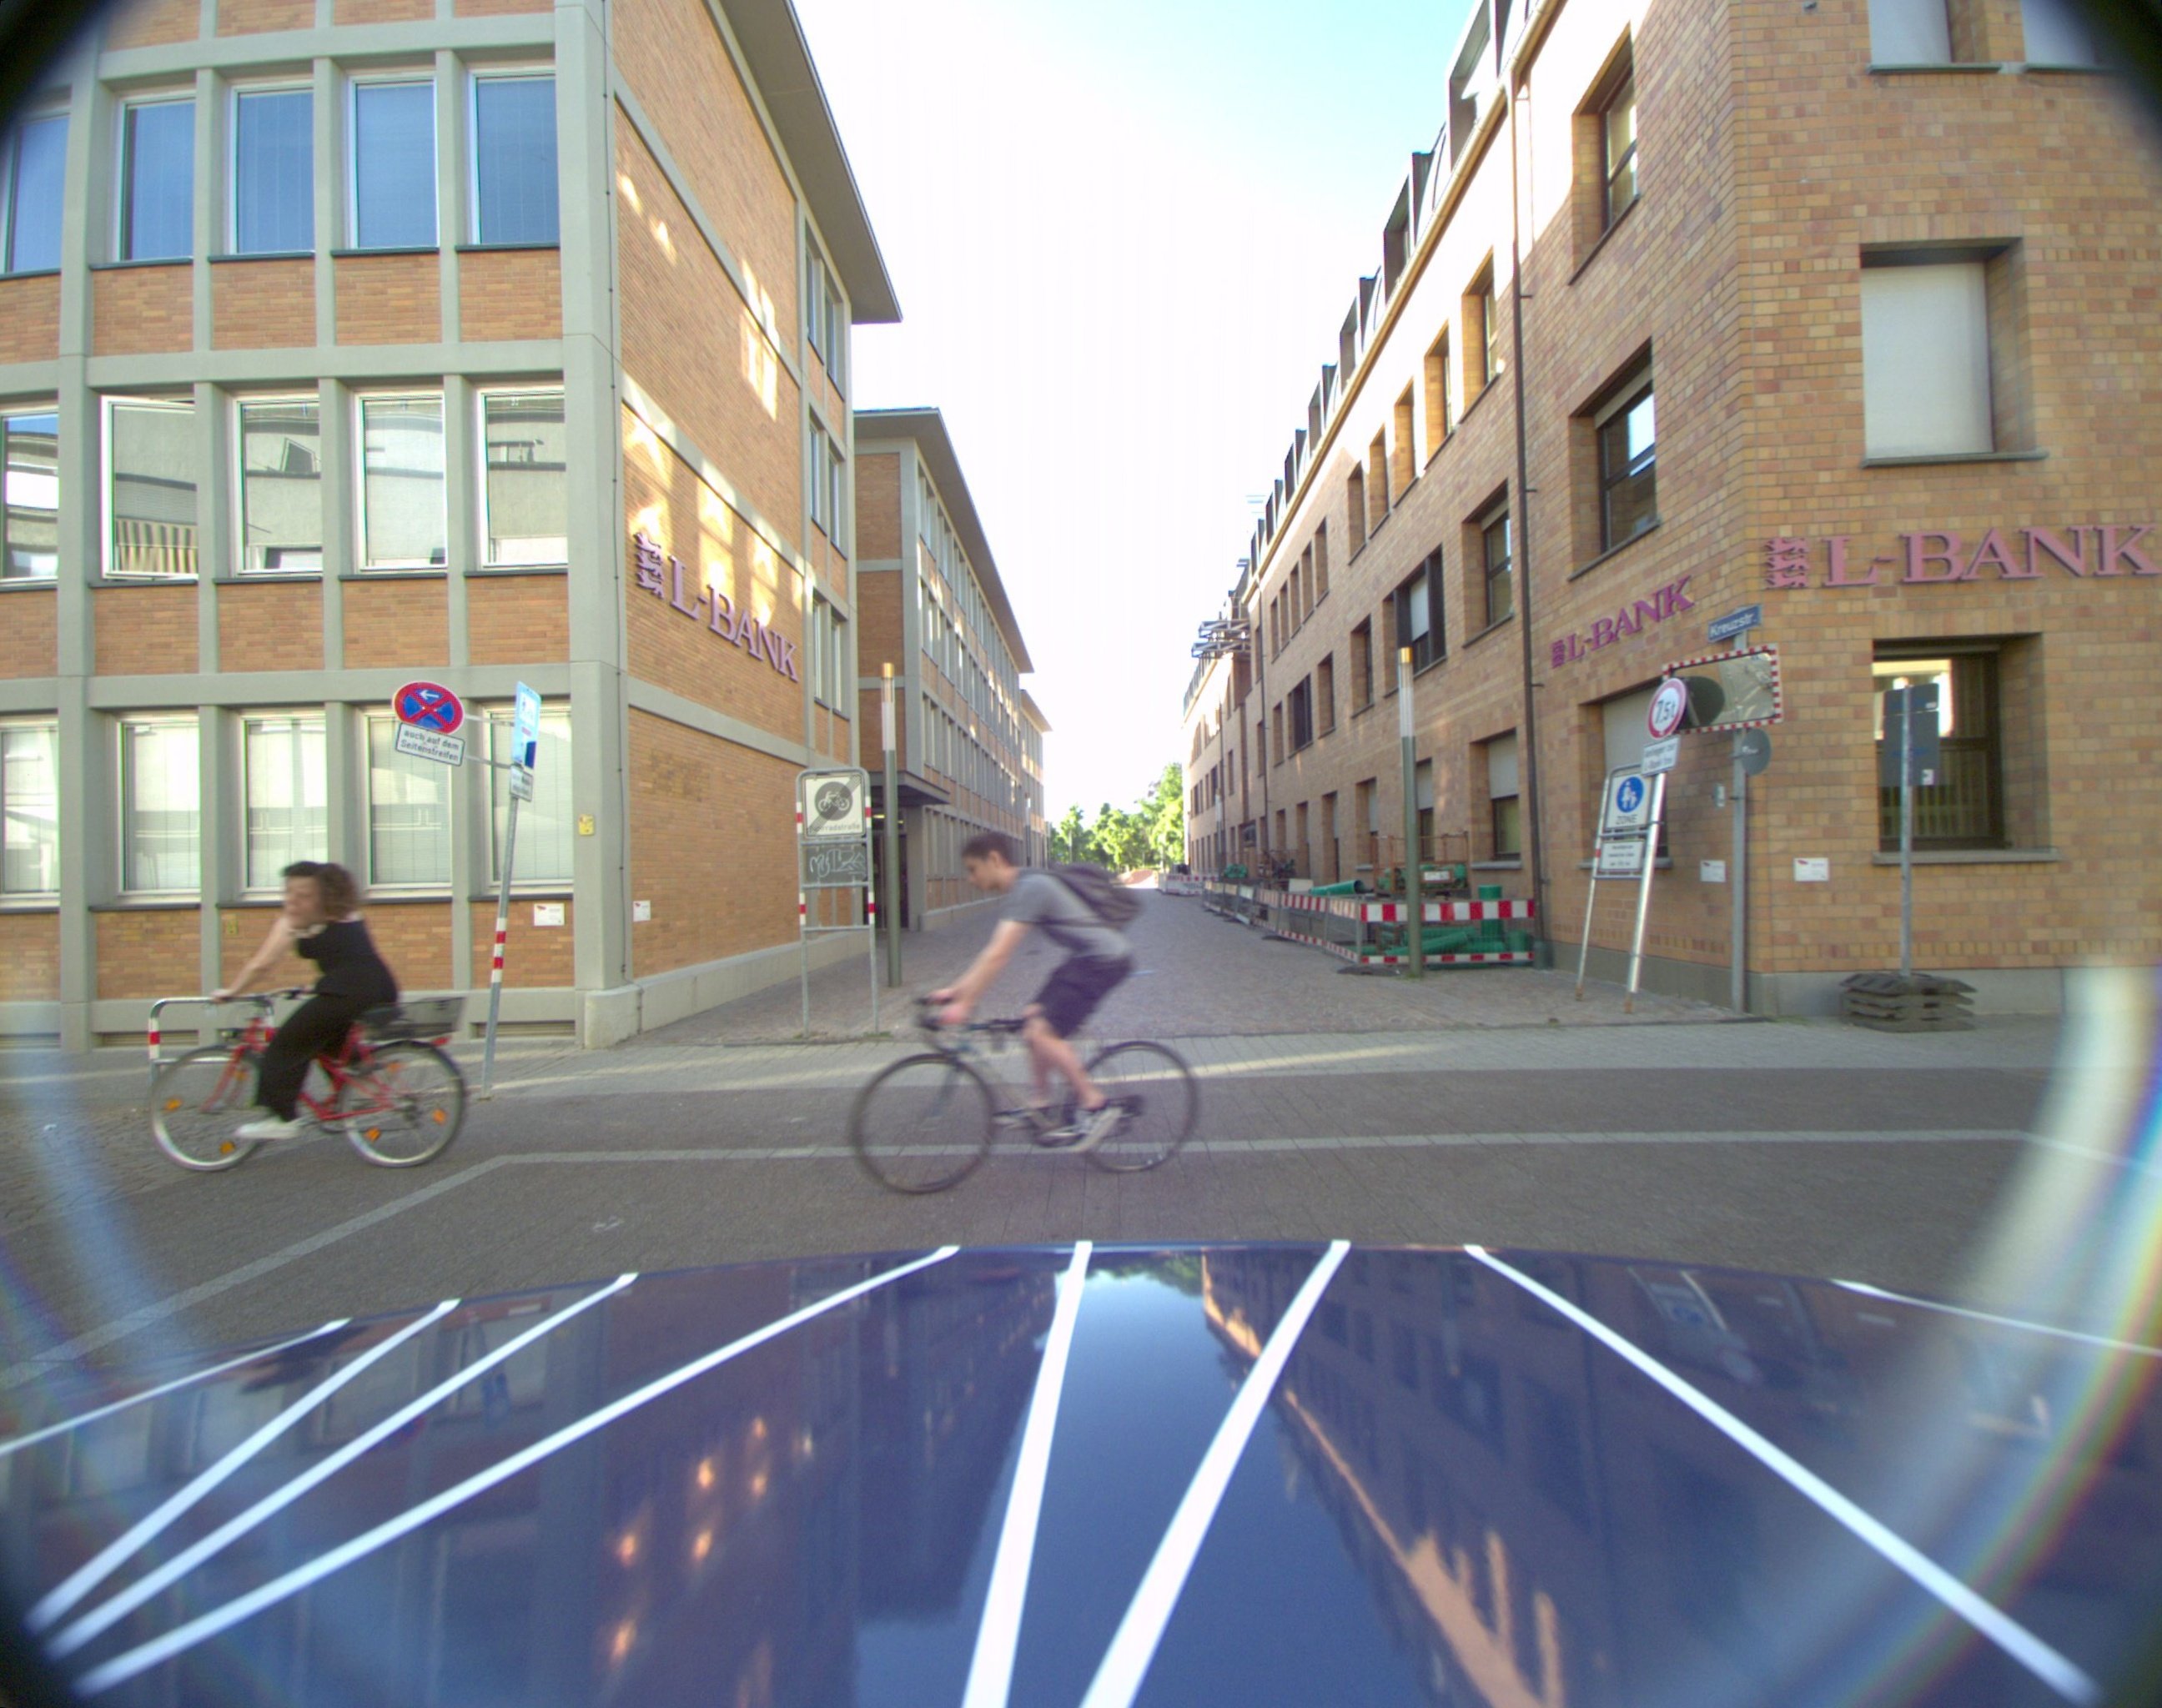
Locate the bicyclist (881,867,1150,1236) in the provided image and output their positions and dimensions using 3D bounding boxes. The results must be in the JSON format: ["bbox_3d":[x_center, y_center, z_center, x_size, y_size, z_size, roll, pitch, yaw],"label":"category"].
[{"bbox_3d":[-0.263,0.852,3.557,1.108,1.549,0.650,-2,0,4],"label":"bicyclist"}]

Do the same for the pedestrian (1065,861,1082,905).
[{"bbox_3d":[-0.300,1.219,31.672,0.638,1.774,0.652,-1,-3,2],"label":"pedestrian"}]

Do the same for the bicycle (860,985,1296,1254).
[{"bbox_3d":[-0.020,1.177,3.514,1.834,1.044,0.574,-2,-4,4],"label":"bicycle"}]

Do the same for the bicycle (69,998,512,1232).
[{"bbox_3d":[-4.194,1.369,4.115,1.799,1.045,0.591,-2,-2,1],"label":"bicycle"}]

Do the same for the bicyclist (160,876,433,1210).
[{"bbox_3d":[-4.225,0.969,4.150,0.823,1.656,0.620,-2,-3,2],"label":"bicyclist"}]
